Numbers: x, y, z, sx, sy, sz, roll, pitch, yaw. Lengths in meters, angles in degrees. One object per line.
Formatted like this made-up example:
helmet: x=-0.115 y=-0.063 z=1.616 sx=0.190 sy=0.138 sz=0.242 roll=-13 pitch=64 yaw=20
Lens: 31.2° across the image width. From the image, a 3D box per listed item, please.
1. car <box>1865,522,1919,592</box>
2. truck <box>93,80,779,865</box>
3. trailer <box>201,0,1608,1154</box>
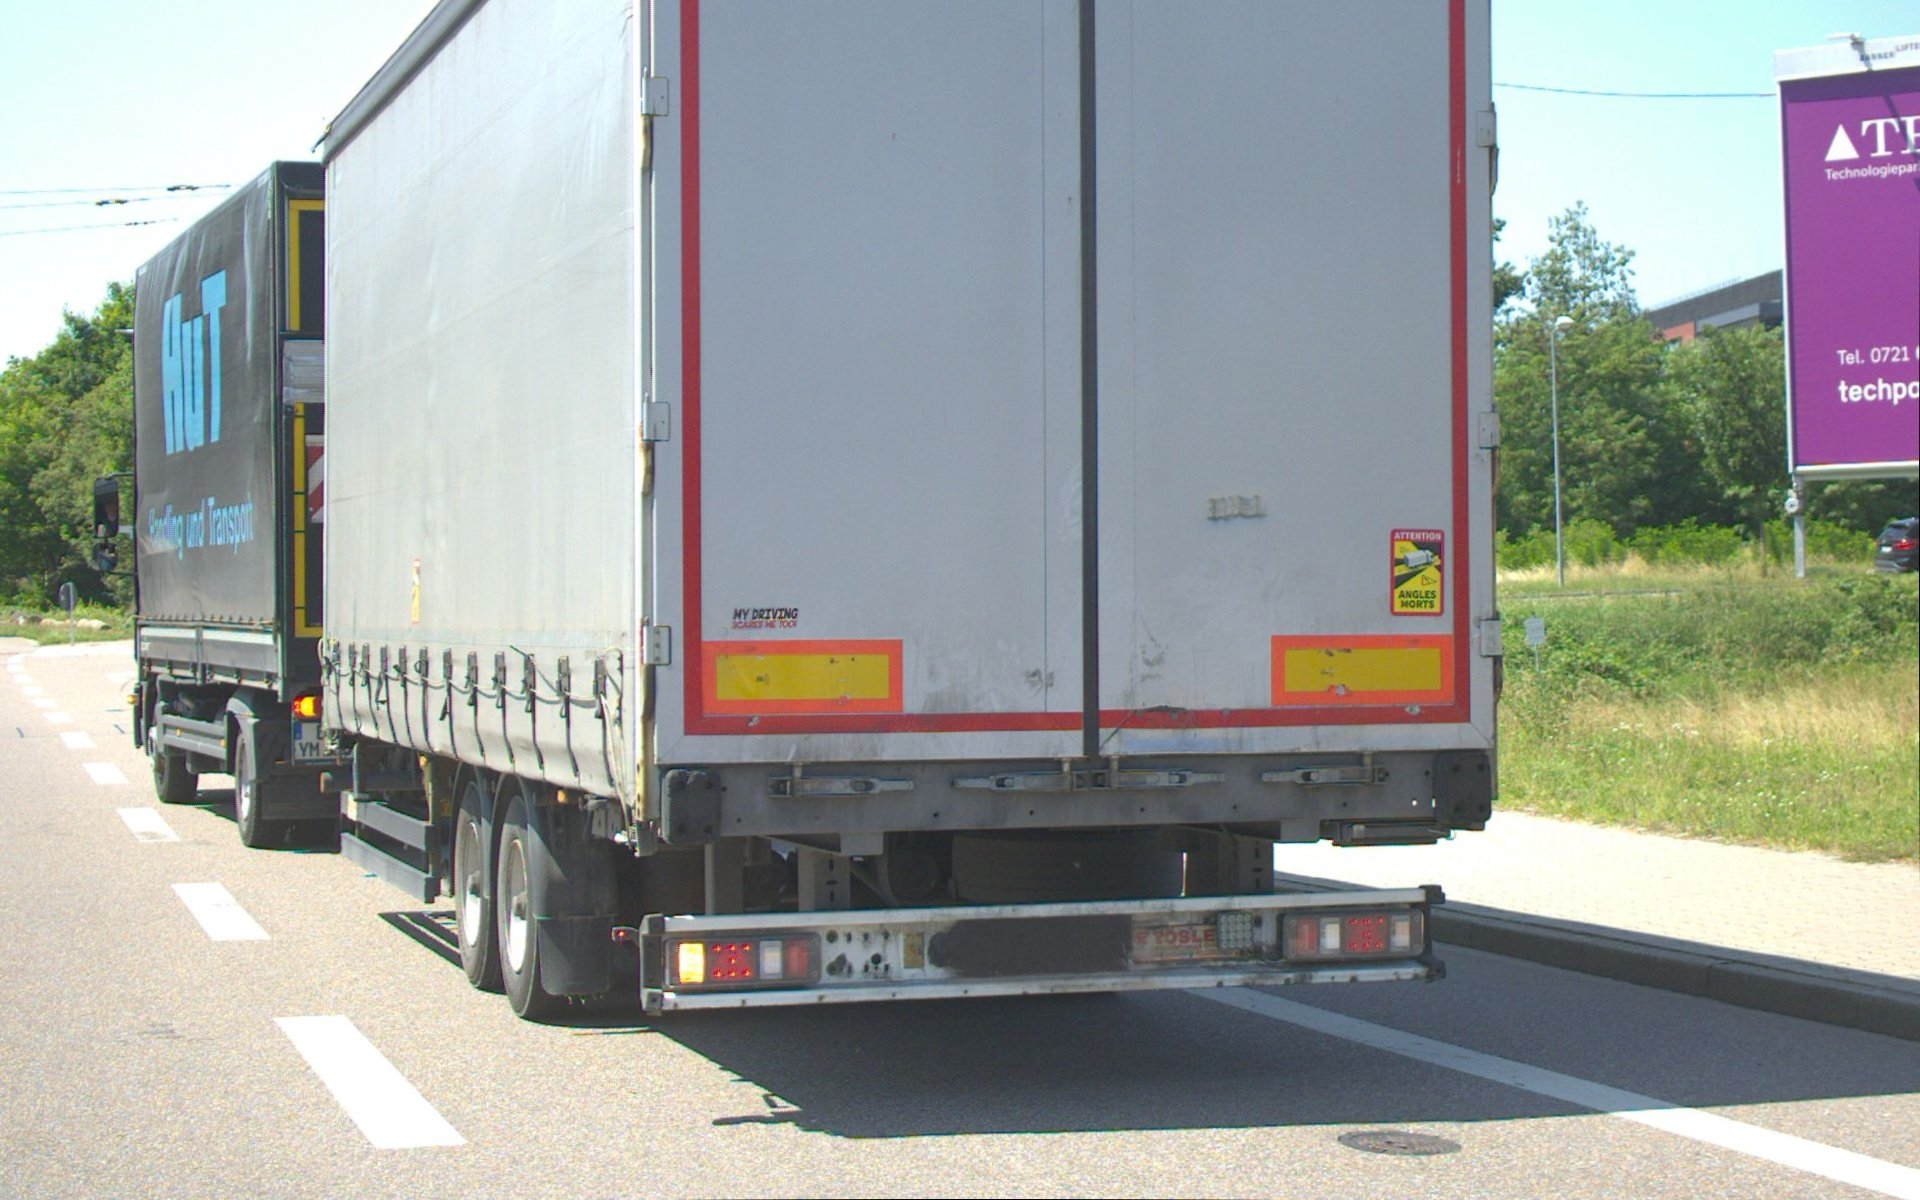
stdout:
car: x=22.212 y=-0.947 z=76.541 sx=3.615 sy=1.527 sz=1.706 roll=0 pitch=0 yaw=-11
truck: x=-3.687 y=-0.700 z=22.021 sx=3.076 sy=4.056 sz=7.961 roll=-1 pitch=1 yaw=-18
trailer: x=-1.094 y=-0.662 z=13.809 sx=3.076 sy=4.056 sz=9.811 roll=-1 pitch=0 yaw=-17
